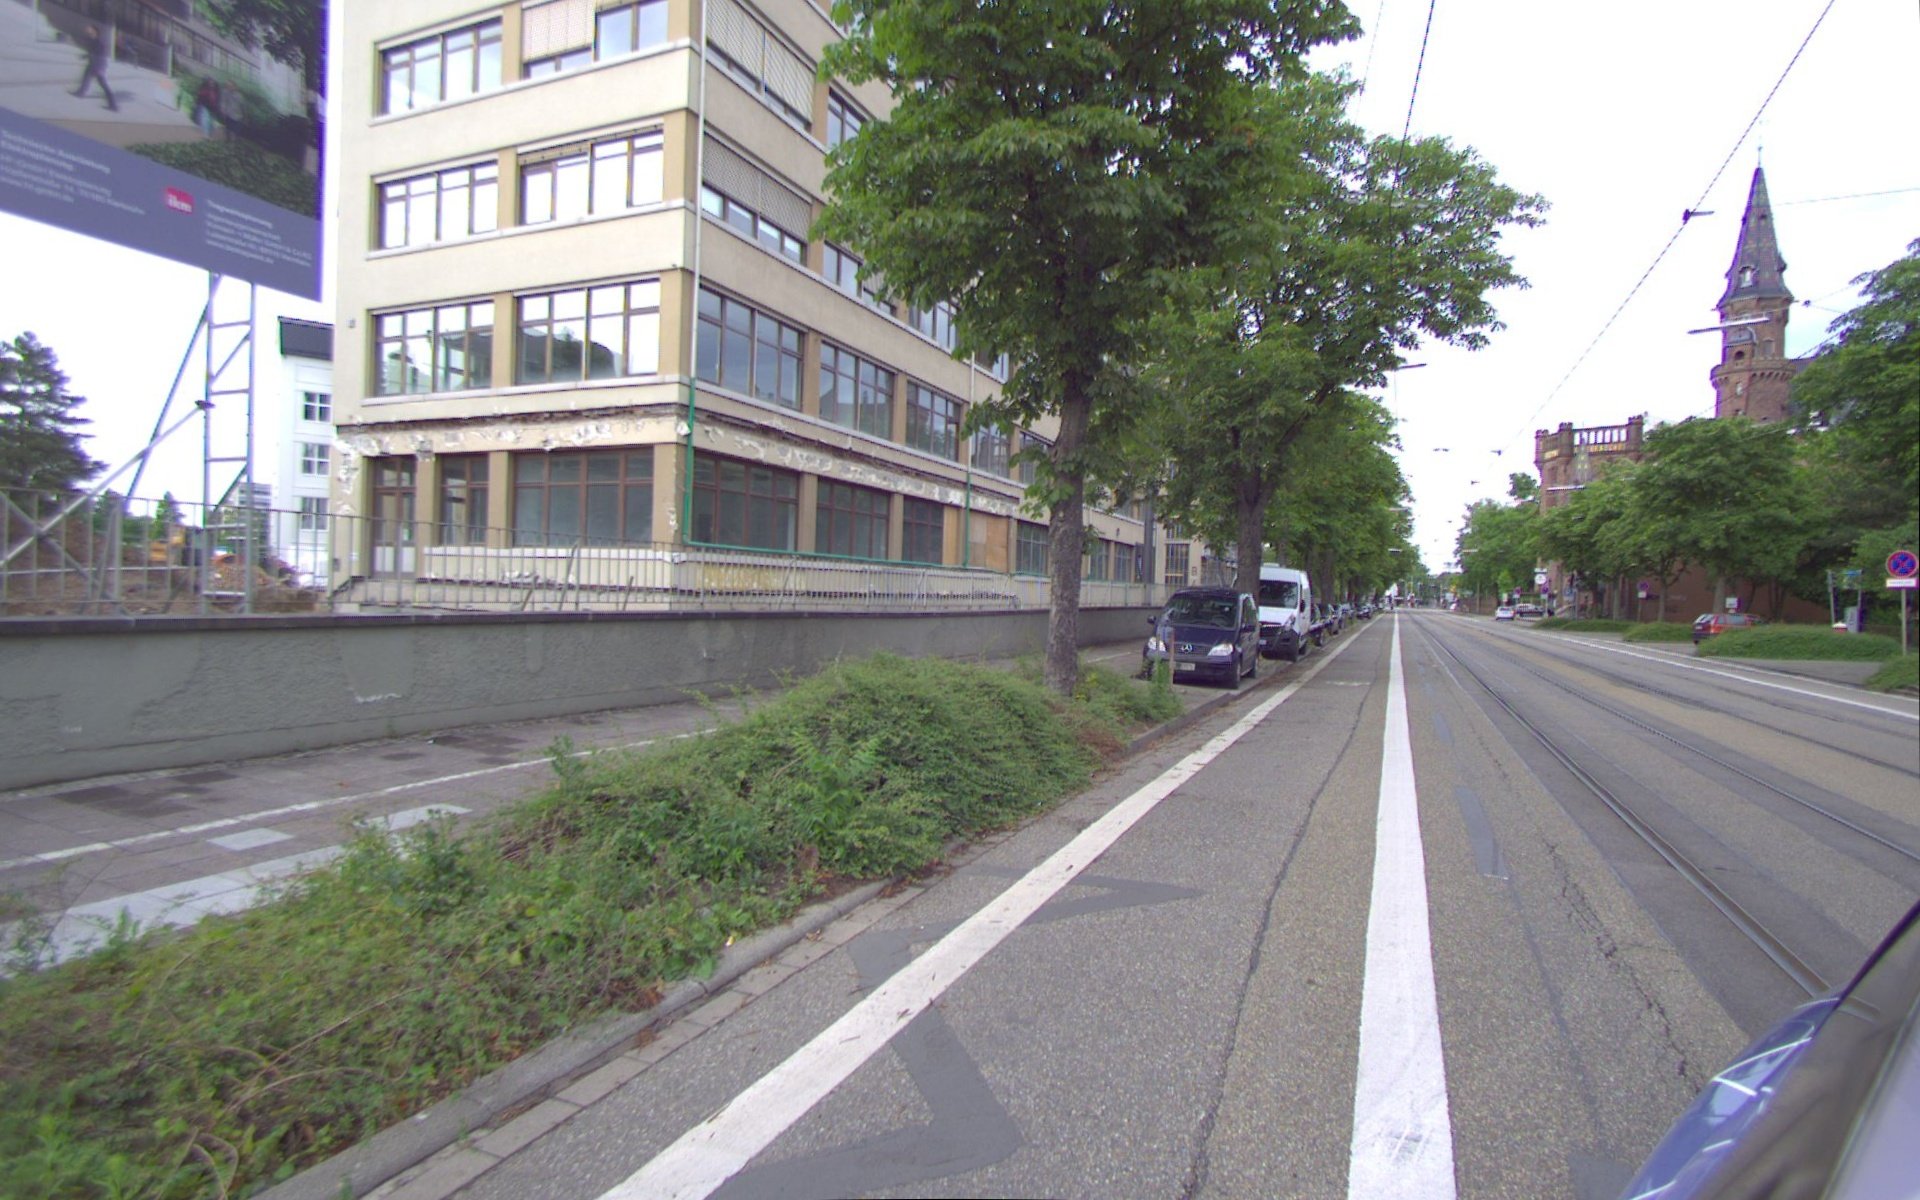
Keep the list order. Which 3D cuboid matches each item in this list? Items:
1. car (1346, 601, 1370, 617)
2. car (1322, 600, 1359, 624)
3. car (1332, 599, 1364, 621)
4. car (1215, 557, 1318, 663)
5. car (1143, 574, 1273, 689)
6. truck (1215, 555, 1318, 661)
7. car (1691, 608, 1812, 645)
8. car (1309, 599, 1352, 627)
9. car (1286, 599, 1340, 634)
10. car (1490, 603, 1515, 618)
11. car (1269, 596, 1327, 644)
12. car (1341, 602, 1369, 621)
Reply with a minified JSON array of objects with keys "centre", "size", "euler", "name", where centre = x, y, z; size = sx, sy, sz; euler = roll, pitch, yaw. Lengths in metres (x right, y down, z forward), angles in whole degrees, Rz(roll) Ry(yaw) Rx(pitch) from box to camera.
[{"centre":[37.828,0.822,96.125],"size":[1.978,1.479,4.358],"euler":[1,0,23],"name":"car"},{"centre":[24.323,0.751,64.587],"size":[1.978,1.479,4.358],"euler":[1,0,23],"name":"car"},{"centre":[27.583,0.719,71.873],"size":[1.978,1.479,4.358],"euler":[1,0,23],"name":"car"},{"centre":[8.619,0.235,28.114],"size":[2.096,2.635,5.447],"euler":[1,0,24],"name":"car"},{"centre":[4.786,0.496,19.124],"size":[1.641,1.834,4.052],"euler":[4,2,23],"name":"car"},{"centre":[8.633,0.218,28.196],"size":[2.096,2.635,5.447],"euler":[-1,-1,24],"name":"truck"},{"centre":[32.057,1.054,41.065],"size":[3.448,1.394,1.630],"euler":[1,1,11],"name":"car"},{"centre":[20.575,0.703,56.153],"size":[1.978,1.479,4.358],"euler":[1,0,23],"name":"car"},{"centre":[16.051,0.706,45.911],"size":[1.978,1.479,4.358],"euler":[1,0,23],"name":"car"},{"centre":[58.370,1.091,108.848],"size":[1.978,1.549,3.968],"euler":[2,1,23],"name":"car"},{"centre":[12.245,0.669,36.573],"size":[1.804,1.518,4.079],"euler":[4,2,20],"name":"car"},{"centre":[33.361,0.939,85.420],"size":[1.978,1.479,4.358],"euler":[1,0,23],"name":"car"}]
